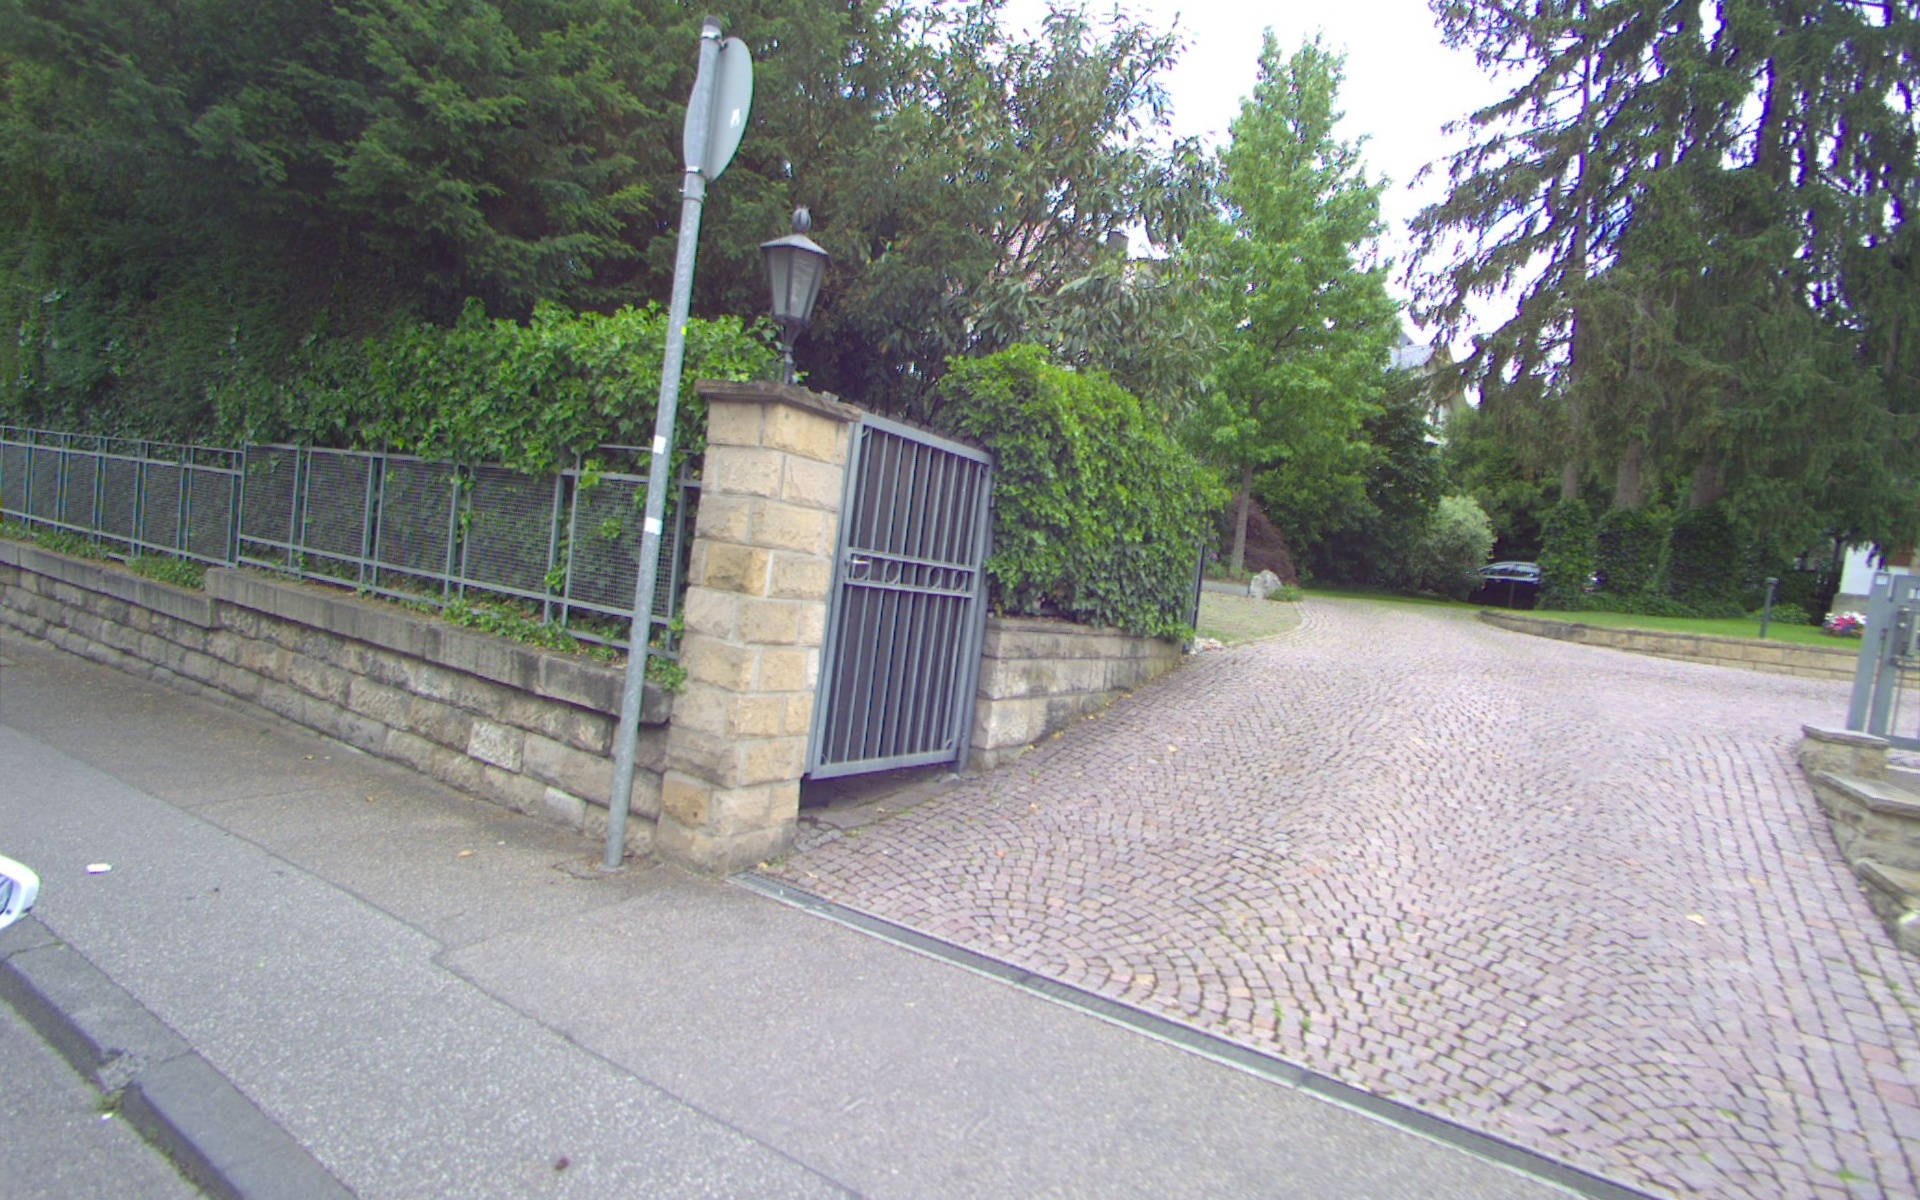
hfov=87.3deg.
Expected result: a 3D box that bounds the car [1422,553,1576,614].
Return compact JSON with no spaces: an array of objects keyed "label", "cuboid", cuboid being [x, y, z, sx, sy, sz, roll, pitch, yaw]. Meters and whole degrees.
[{"label":"car","cuboid":[14.925,-0.495,27.995,1.457,1.252,3.377,1,7,-36]}]
